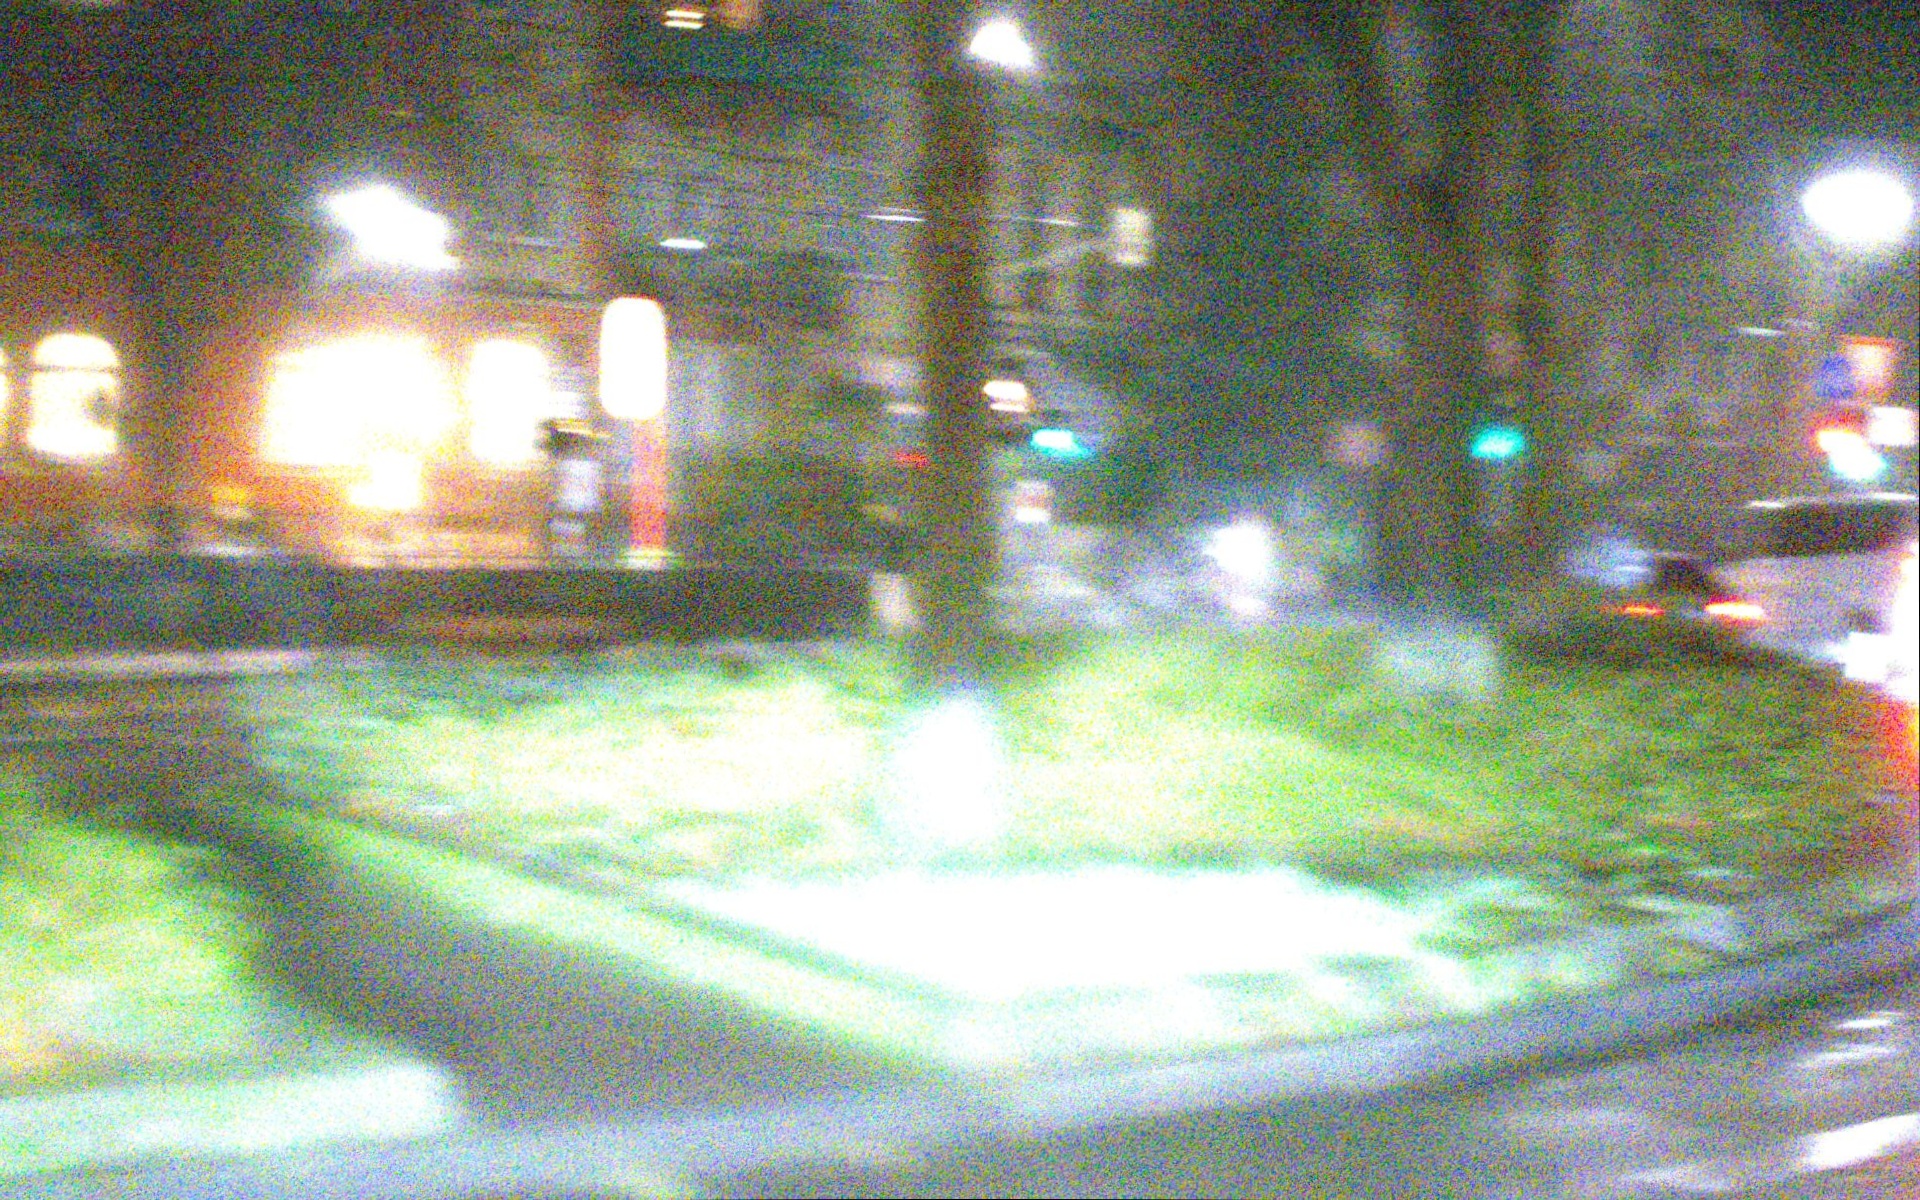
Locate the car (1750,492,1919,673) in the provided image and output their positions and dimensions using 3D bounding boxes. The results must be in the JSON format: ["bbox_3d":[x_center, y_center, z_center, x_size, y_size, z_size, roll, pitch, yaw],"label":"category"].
[{"bbox_3d":[9.751,-0.125,34.902,1.993,1.722,4.001,3,0,-8],"label":"car"}]

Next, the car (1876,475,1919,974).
[{"bbox_3d":[4.678,0.488,12.156,1.734,1.608,3.455,3,0,33],"label":"car"}]
